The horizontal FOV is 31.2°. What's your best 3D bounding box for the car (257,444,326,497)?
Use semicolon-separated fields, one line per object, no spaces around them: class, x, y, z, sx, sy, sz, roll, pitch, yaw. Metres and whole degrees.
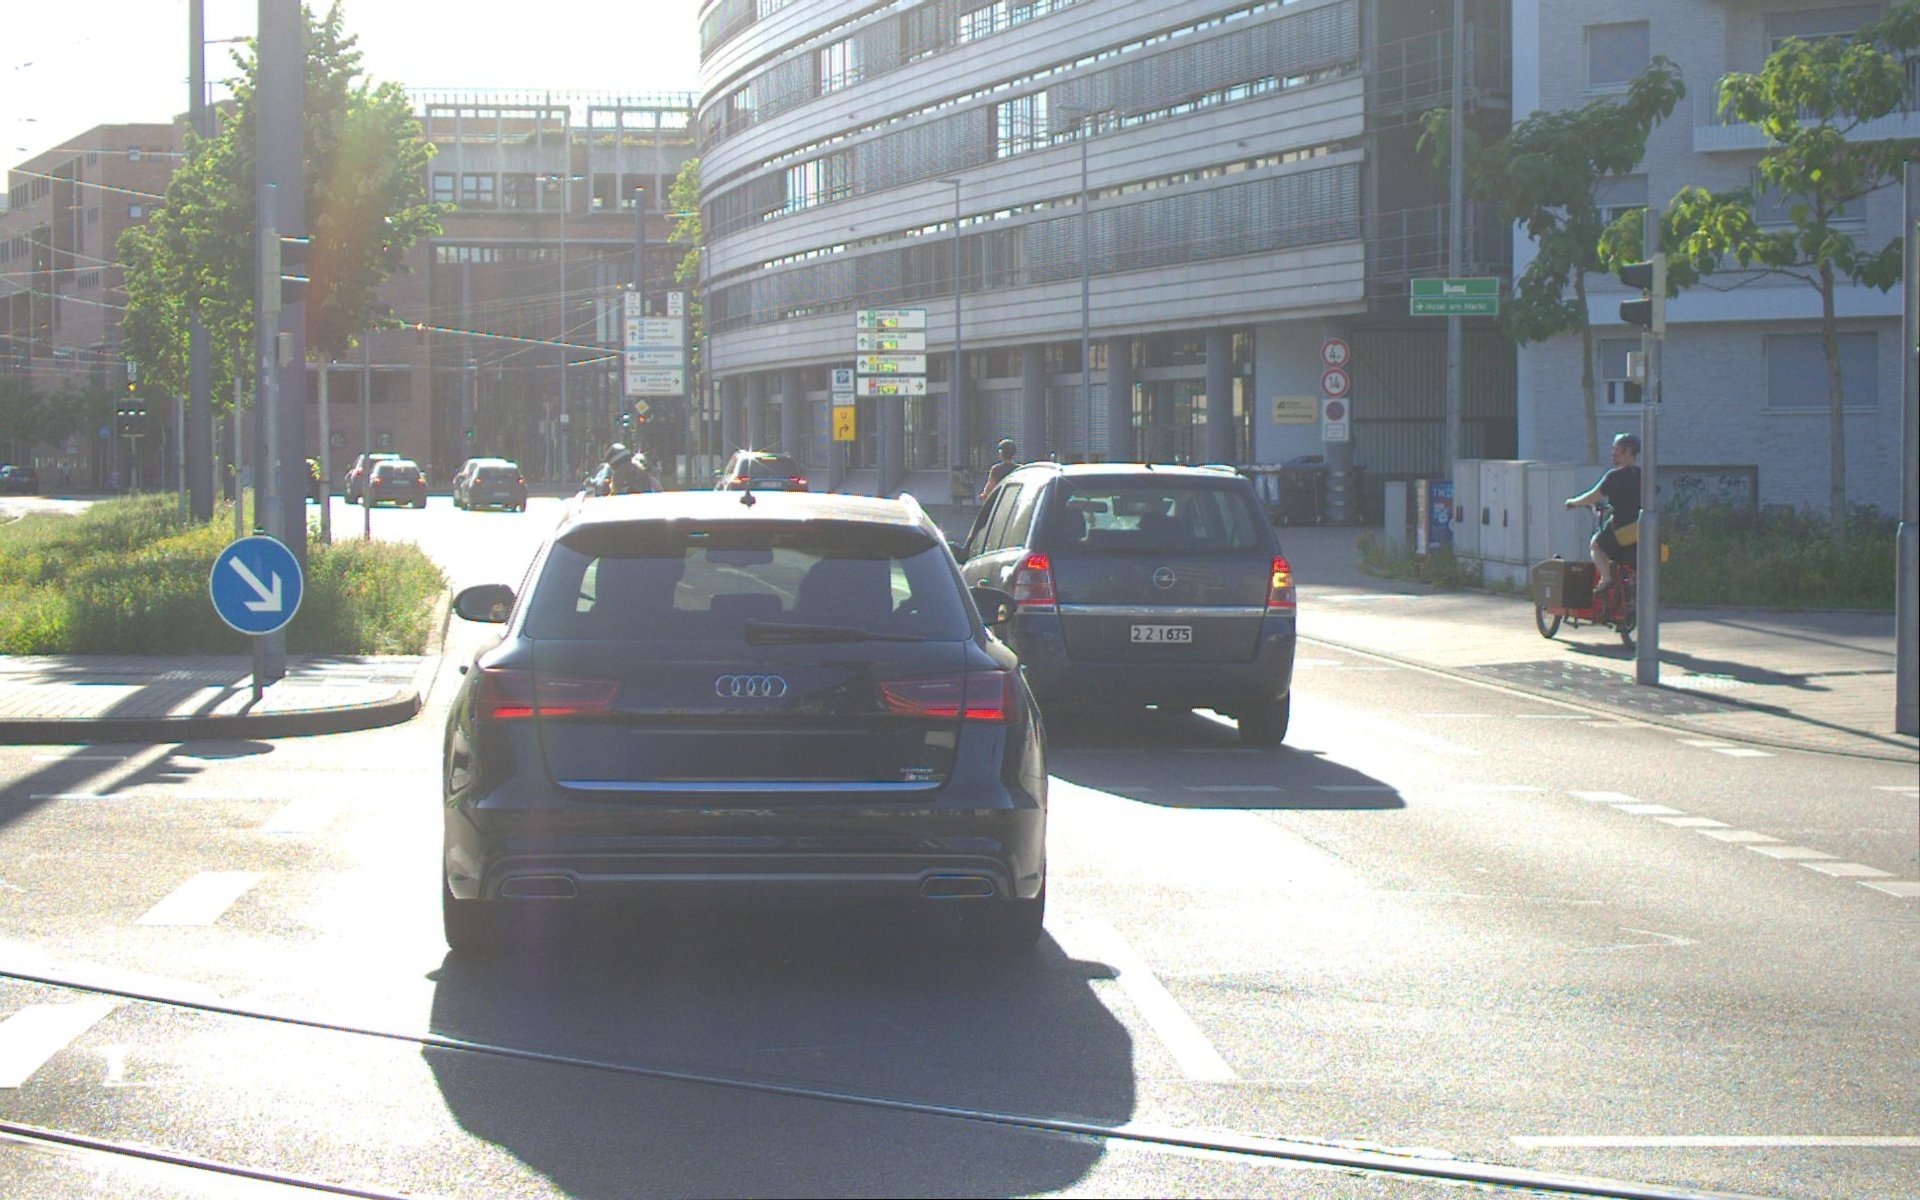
car;-21.978;-4.234;112.935;1.993;1.700;4.001;-1;2;-14

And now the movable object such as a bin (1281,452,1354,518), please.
movable object such as a bin;7.297;-2.349;70.280;1.059;1.327;1.125;-1;2;-24

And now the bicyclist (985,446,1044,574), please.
bicyclist;0.718;-1.176;44.701;0.654;1.637;0.972;1;3;7

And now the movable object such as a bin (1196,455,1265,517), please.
movable object such as a bin;5.800;-2.443;73.736;1.059;1.327;1.125;-1;2;-24

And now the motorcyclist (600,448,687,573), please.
motorcyclist;-3.403;-0.966;36.892;0.862;1.321;0.681;0;2;-10

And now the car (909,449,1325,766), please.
car;0.845;-0.045;21.163;1.745;1.690;4.262;2;2;-8

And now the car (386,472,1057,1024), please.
car;-0.624;0.341;11.634;1.842;1.449;4.000;2;3;1

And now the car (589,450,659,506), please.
car;-11.440;-4.133;116.818;1.993;1.831;4.001;-1;2;-11

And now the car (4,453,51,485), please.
car;-50.891;-7.135;187.634;1.993;1.700;4.001;-1;2;-22

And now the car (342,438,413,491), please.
car;-19.233;-4.452;113.356;1.993;1.700;4.001;-1;2;-14

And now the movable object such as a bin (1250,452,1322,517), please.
movable object such as a bin;6.779;-2.393;71.486;1.059;1.327;1.125;-1;2;-24

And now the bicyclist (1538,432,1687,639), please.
bicyclist;5.473;-0.556;28.856;0.766;1.700;0.930;-1;3;-39

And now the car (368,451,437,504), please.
car;-17.406;-3.805;107.215;1.993;1.590;4.001;-1;2;-11

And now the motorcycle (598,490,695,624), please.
motorcycle;-3.381;-0.478;36.910;0.862;1.388;1.894;0;2;-10

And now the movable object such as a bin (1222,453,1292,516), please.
movable object such as a bin;6.278;-2.438;72.637;1.059;1.327;1.125;-1;2;-24

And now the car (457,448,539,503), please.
car;-14.064;-3.769;104.502;1.993;1.590;4.001;-1;2;-15

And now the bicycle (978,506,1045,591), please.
bicycle;0.676;-0.679;44.727;0.654;1.039;1.929;1;3;7

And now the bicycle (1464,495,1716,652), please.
bicycle;5.307;-0.247;29.057;0.766;1.258;2.081;-1;3;-39

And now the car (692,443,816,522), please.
car;-4.913;-2.812;81.561;2.002;1.709;4.374;1;3;-16

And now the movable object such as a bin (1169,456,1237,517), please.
movable object such as a bin;5.283;-2.470;74.840;1.059;1.327;1.125;-1;2;-24
